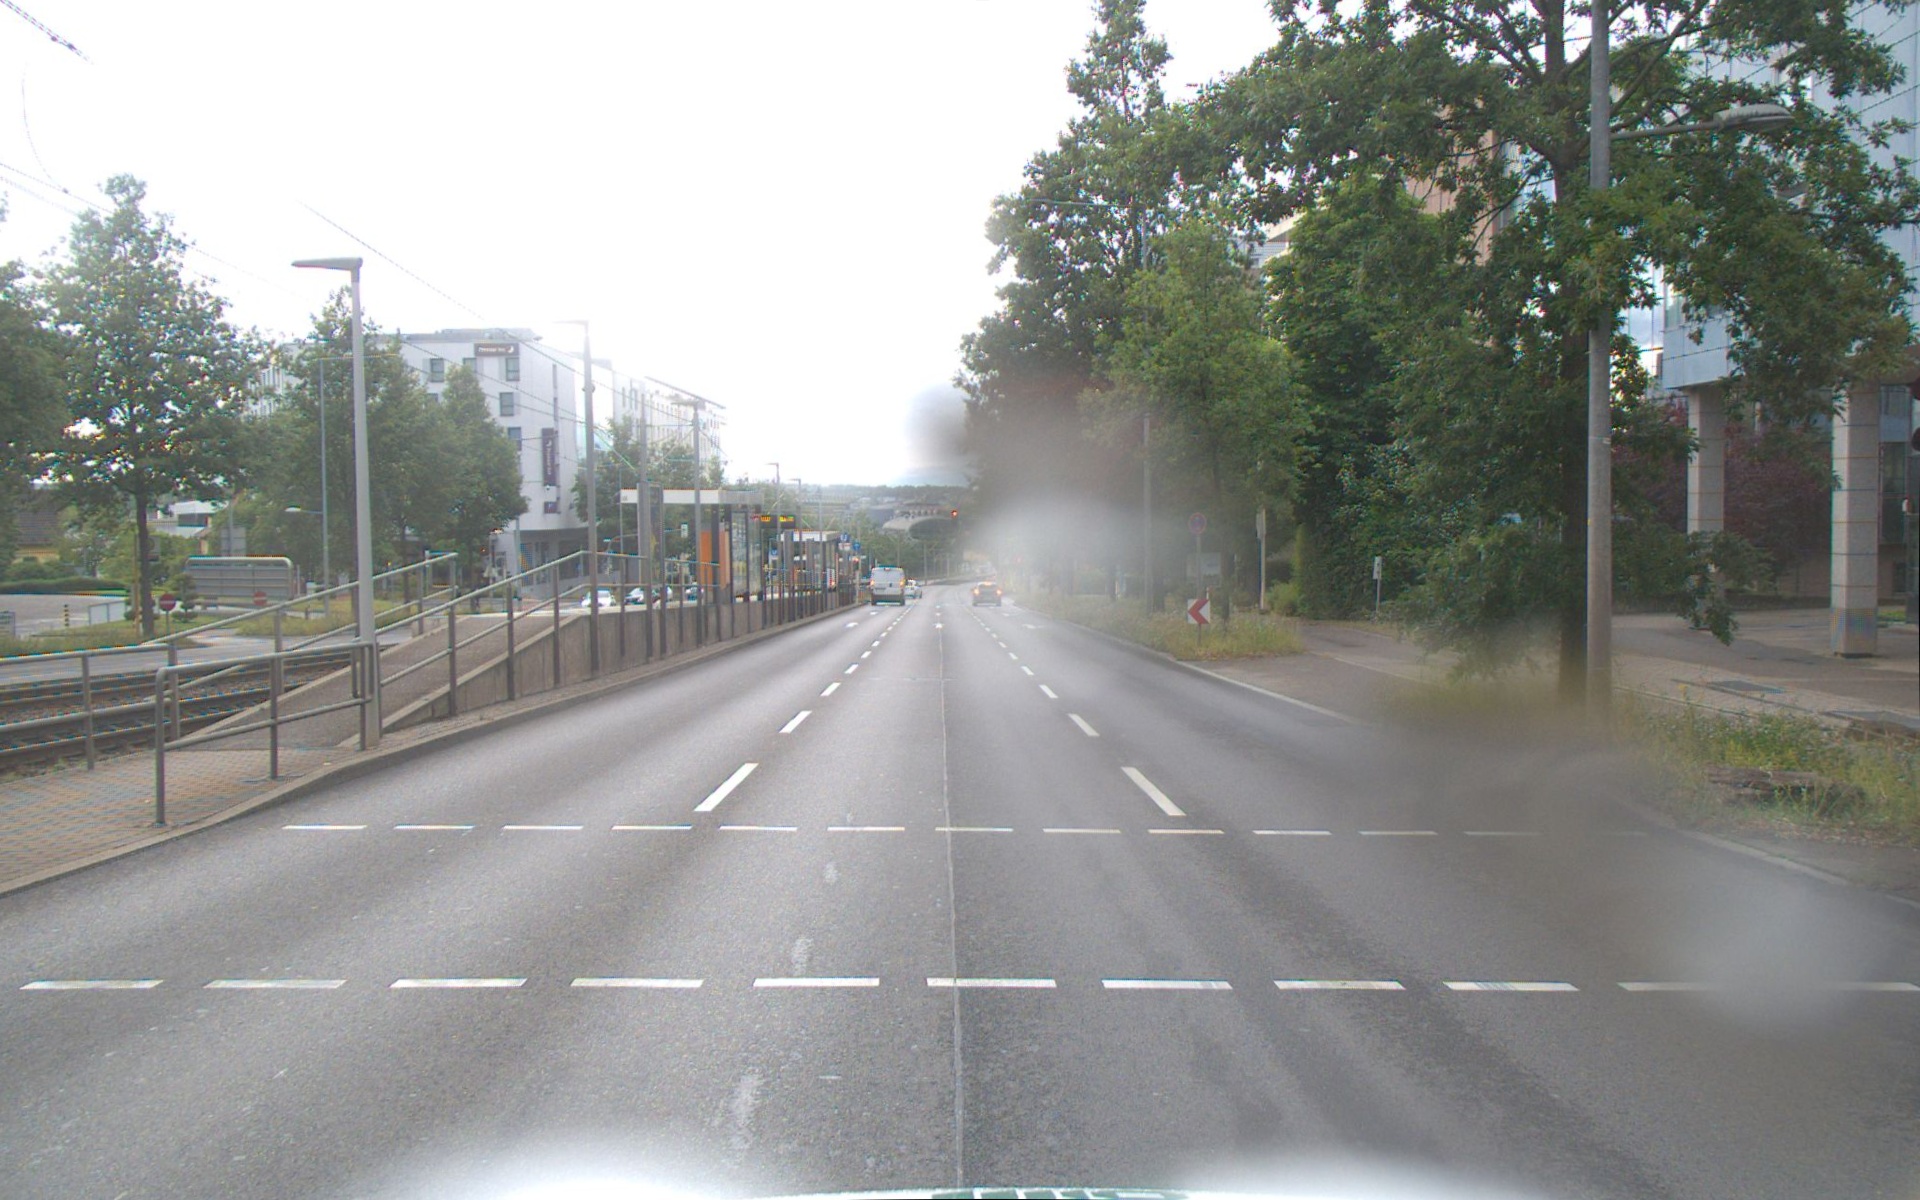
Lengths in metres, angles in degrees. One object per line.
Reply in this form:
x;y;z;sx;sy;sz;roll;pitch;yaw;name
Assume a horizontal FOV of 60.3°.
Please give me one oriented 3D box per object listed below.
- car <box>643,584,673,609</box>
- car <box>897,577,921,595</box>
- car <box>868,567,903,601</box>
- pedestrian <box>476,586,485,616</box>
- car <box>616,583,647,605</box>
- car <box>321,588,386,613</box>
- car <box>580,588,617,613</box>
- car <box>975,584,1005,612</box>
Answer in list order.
-18.971;-0.198;103.892;1.622;1.461;3.866;-2;1;-14;car
-4.123;-1.164;134.484;1.746;1.414;4.000;0;1;0;car
-4.575;-0.978;102.371;2.050;2.089;4.605;0;1;-1;car
-31.353;0.080;108.136;0.465;1.954;0.490;0;0;-1;pedestrian
-21.991;-0.410;110.909;1.536;1.402;3.517;0;1;-3;car
-34.949;0.007;95.271;3.297;1.411;1.434;0;1;16;car
-22.417;0.031;102.741;1.618;1.461;3.877;-2;1;-4;car
1.820;-0.149;102.811;1.738;1.720;3.845;0;1;-1;car
